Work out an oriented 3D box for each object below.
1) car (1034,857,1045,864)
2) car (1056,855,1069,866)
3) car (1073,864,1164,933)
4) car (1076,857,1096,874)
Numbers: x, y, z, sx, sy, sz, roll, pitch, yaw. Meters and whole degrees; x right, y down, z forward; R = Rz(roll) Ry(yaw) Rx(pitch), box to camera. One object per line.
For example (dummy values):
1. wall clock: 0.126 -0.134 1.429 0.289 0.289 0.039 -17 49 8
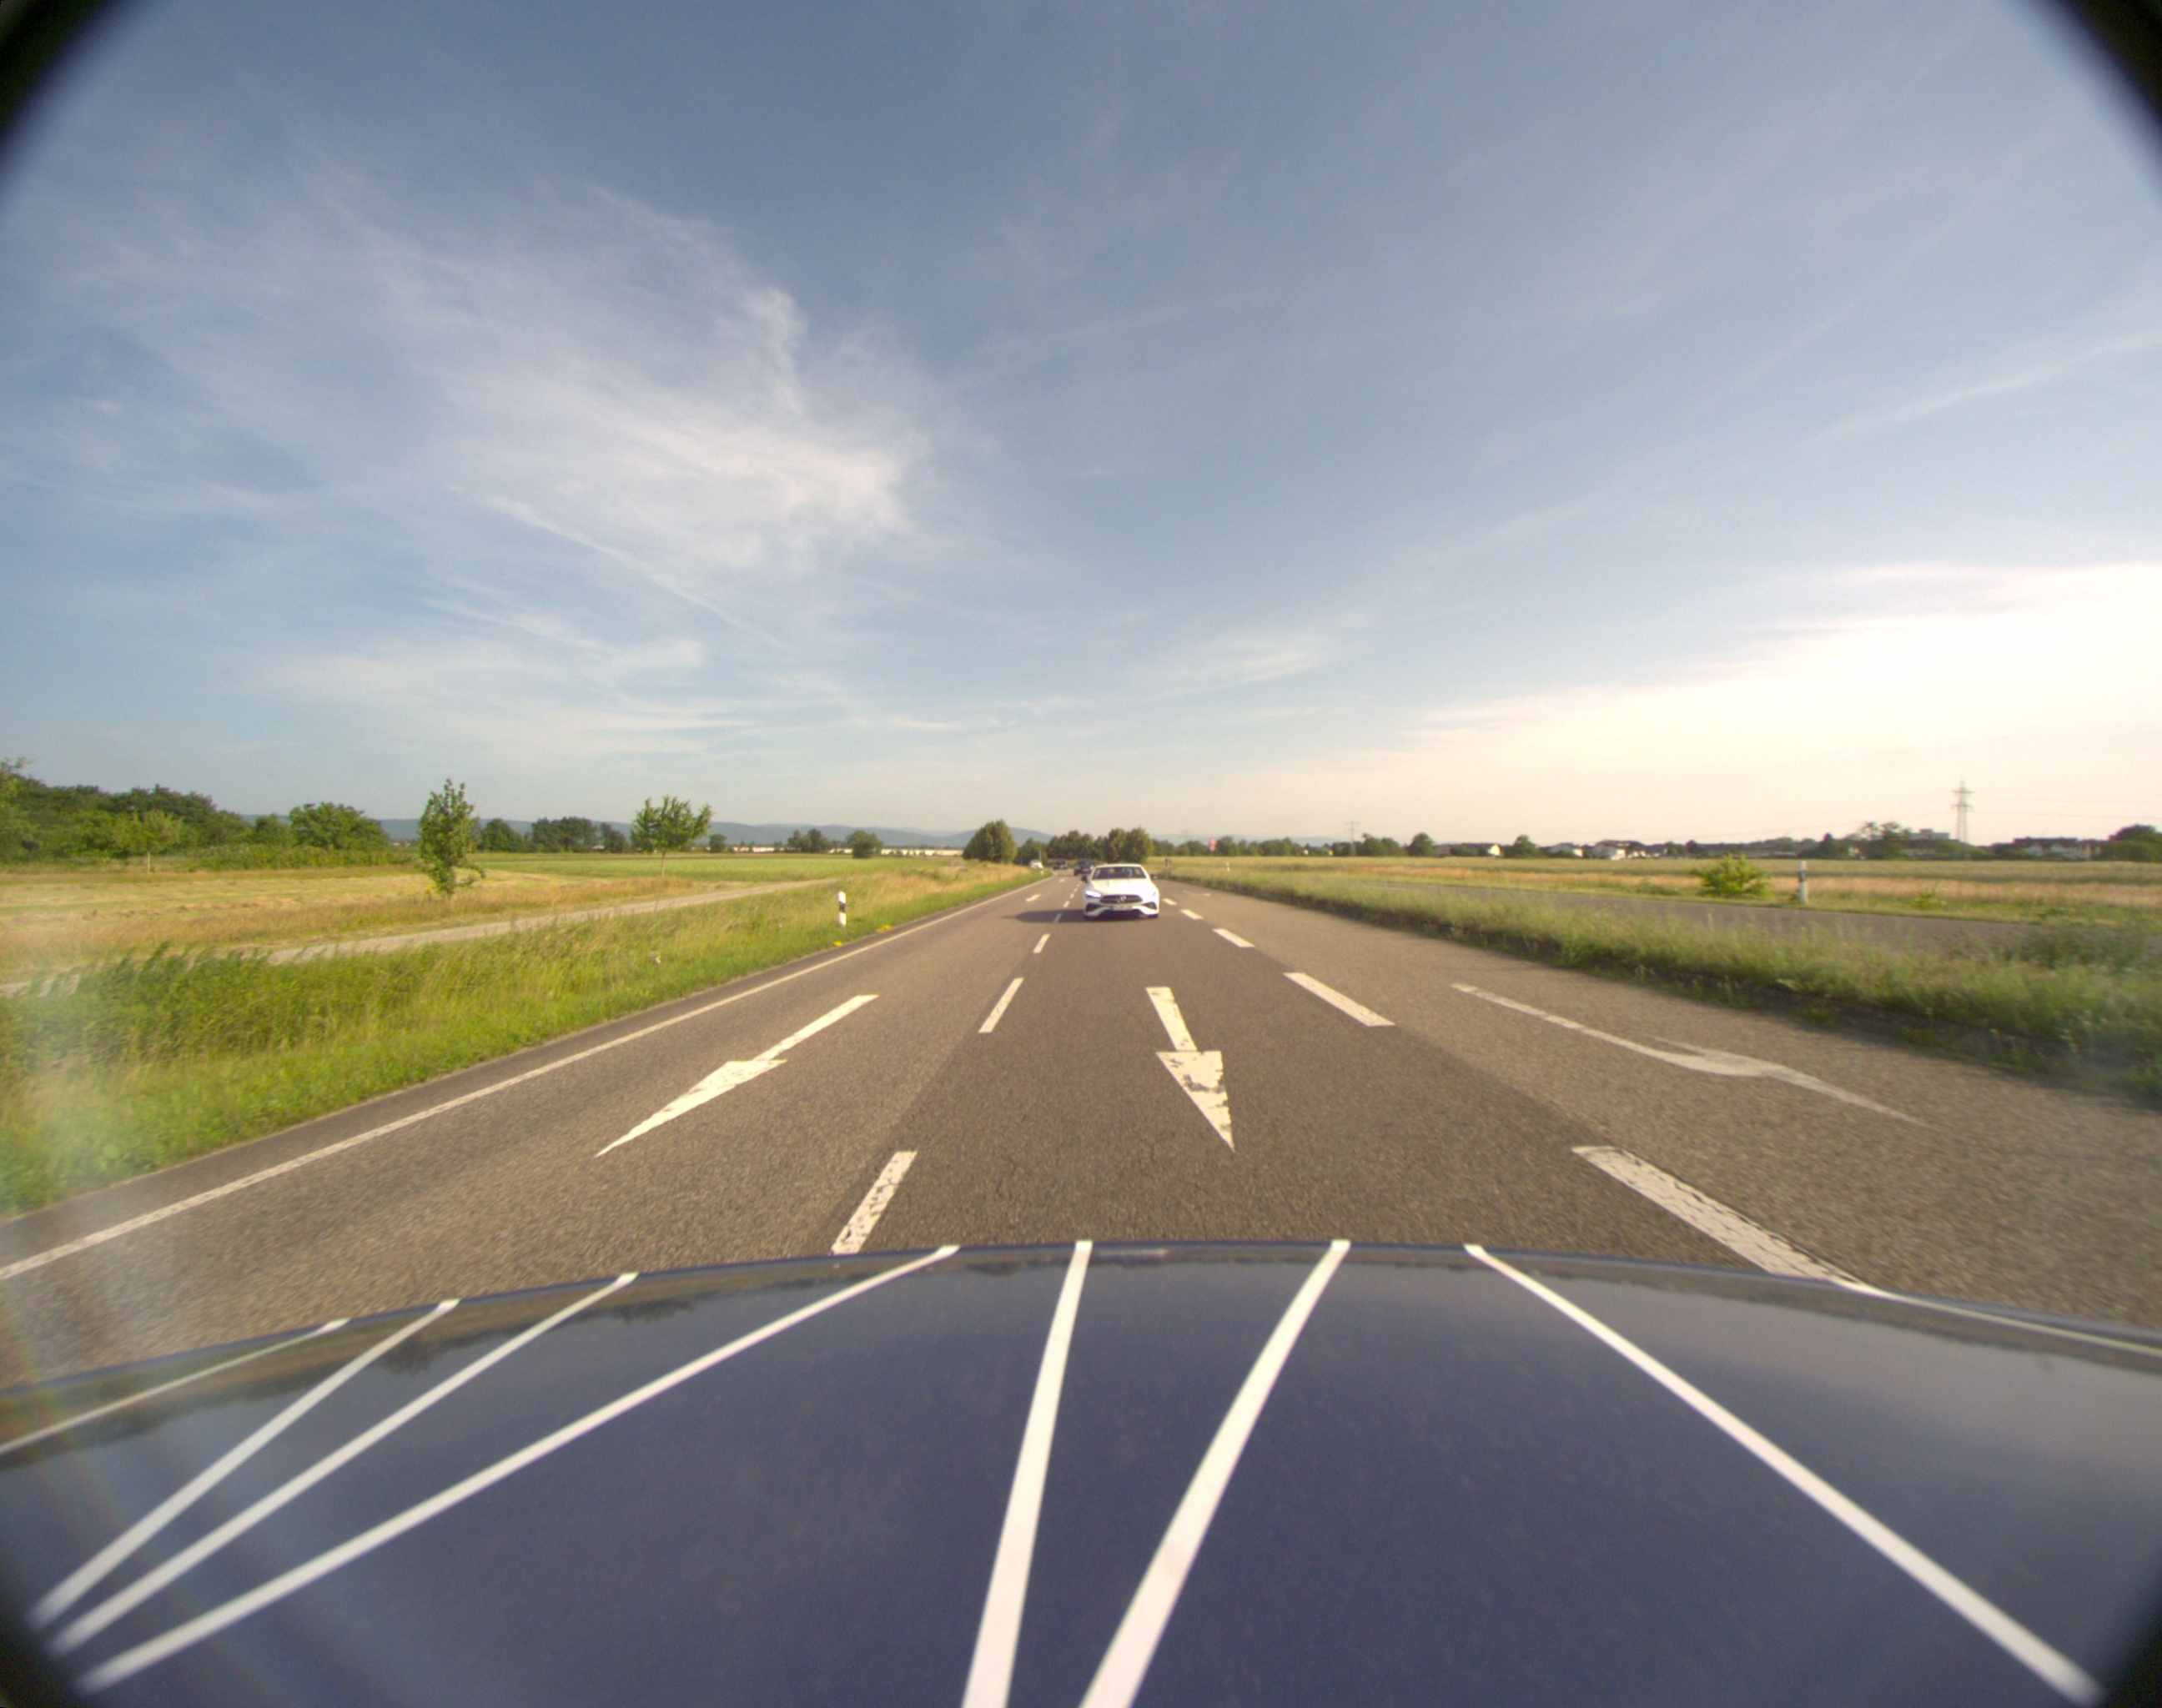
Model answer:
1. car: -7.763 1.206 140.945 1.558 1.392 4.032 -1 0 -9
2. car: -2.669 0.943 109.158 1.558 1.550 3.046 -1 0 -9
3. car: 0.965 1.016 18.636 1.940 1.389 3.919 -2 0 4
4. car: 0.487 1.039 69.338 1.584 1.496 3.662 -1 0 4
